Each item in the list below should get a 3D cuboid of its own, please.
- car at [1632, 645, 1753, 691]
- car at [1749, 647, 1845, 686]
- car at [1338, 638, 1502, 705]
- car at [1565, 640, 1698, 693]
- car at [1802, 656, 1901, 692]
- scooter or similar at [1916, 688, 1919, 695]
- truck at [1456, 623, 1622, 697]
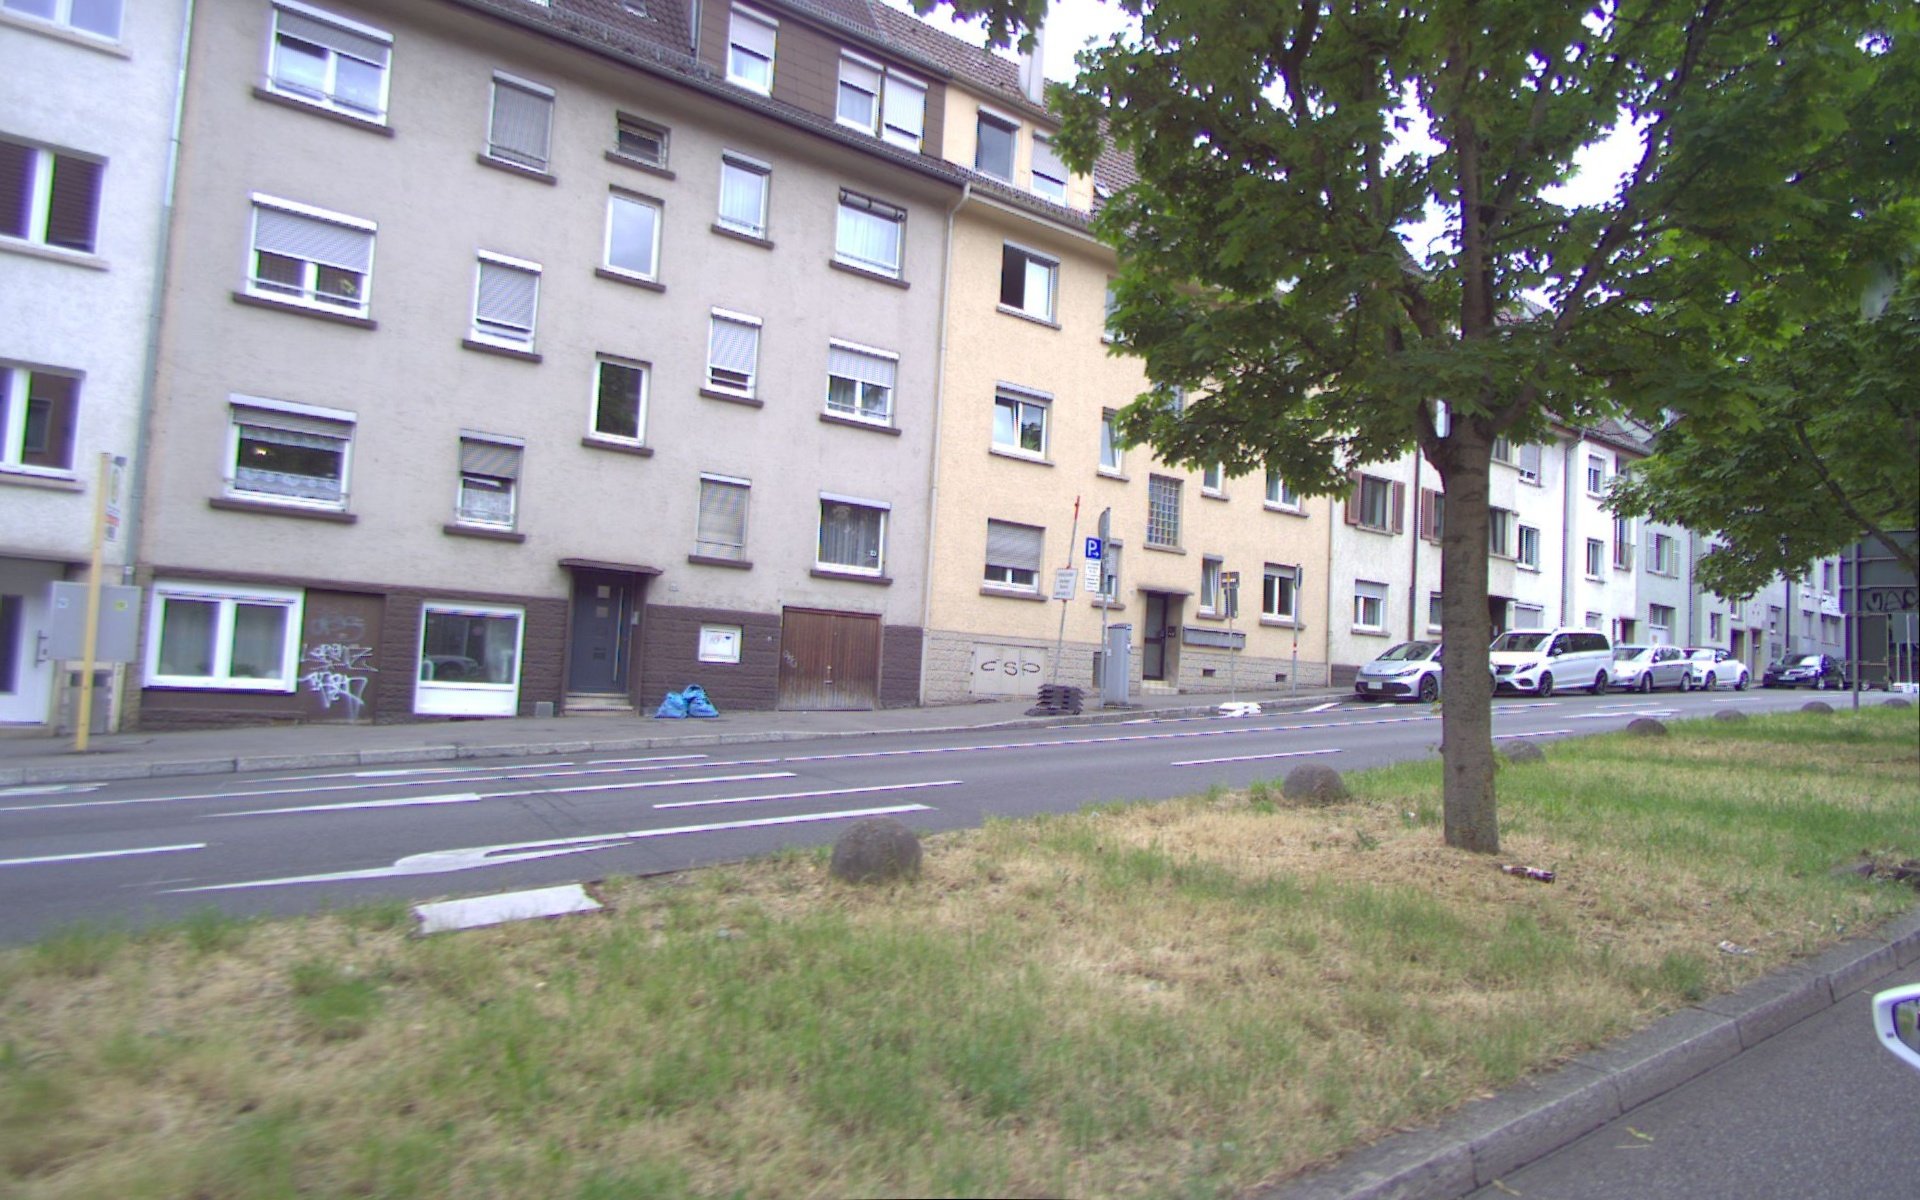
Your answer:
[{"bbox_3d":[25.277,2.340,34.648,4.112,1.493,1.983,2,-3,-32],"label":"car"},{"bbox_3d":[33.170,2.645,39.771,4.172,1.441,1.980,4,-4,-36],"label":"car"},{"bbox_3d":[11.845,1.811,25.832,4.114,1.572,1.982,2,-3,-33],"label":"car"},{"bbox_3d":[21.325,2.086,31.857,4.336,1.572,1.982,2,-3,-33],"label":"car"},{"bbox_3d":[37.714,3.116,42.477,4.468,1.418,1.983,3,-4,-32],"label":"car"},{"bbox_3d":[44.580,4.192,46.013,1.111,0.292,1.093,-2,-6,43],"label":"scooter or similar"},{"bbox_3d":[16.700,1.724,28.877,5.291,1.945,1.982,2,-3,-34],"label":"truck"}]
